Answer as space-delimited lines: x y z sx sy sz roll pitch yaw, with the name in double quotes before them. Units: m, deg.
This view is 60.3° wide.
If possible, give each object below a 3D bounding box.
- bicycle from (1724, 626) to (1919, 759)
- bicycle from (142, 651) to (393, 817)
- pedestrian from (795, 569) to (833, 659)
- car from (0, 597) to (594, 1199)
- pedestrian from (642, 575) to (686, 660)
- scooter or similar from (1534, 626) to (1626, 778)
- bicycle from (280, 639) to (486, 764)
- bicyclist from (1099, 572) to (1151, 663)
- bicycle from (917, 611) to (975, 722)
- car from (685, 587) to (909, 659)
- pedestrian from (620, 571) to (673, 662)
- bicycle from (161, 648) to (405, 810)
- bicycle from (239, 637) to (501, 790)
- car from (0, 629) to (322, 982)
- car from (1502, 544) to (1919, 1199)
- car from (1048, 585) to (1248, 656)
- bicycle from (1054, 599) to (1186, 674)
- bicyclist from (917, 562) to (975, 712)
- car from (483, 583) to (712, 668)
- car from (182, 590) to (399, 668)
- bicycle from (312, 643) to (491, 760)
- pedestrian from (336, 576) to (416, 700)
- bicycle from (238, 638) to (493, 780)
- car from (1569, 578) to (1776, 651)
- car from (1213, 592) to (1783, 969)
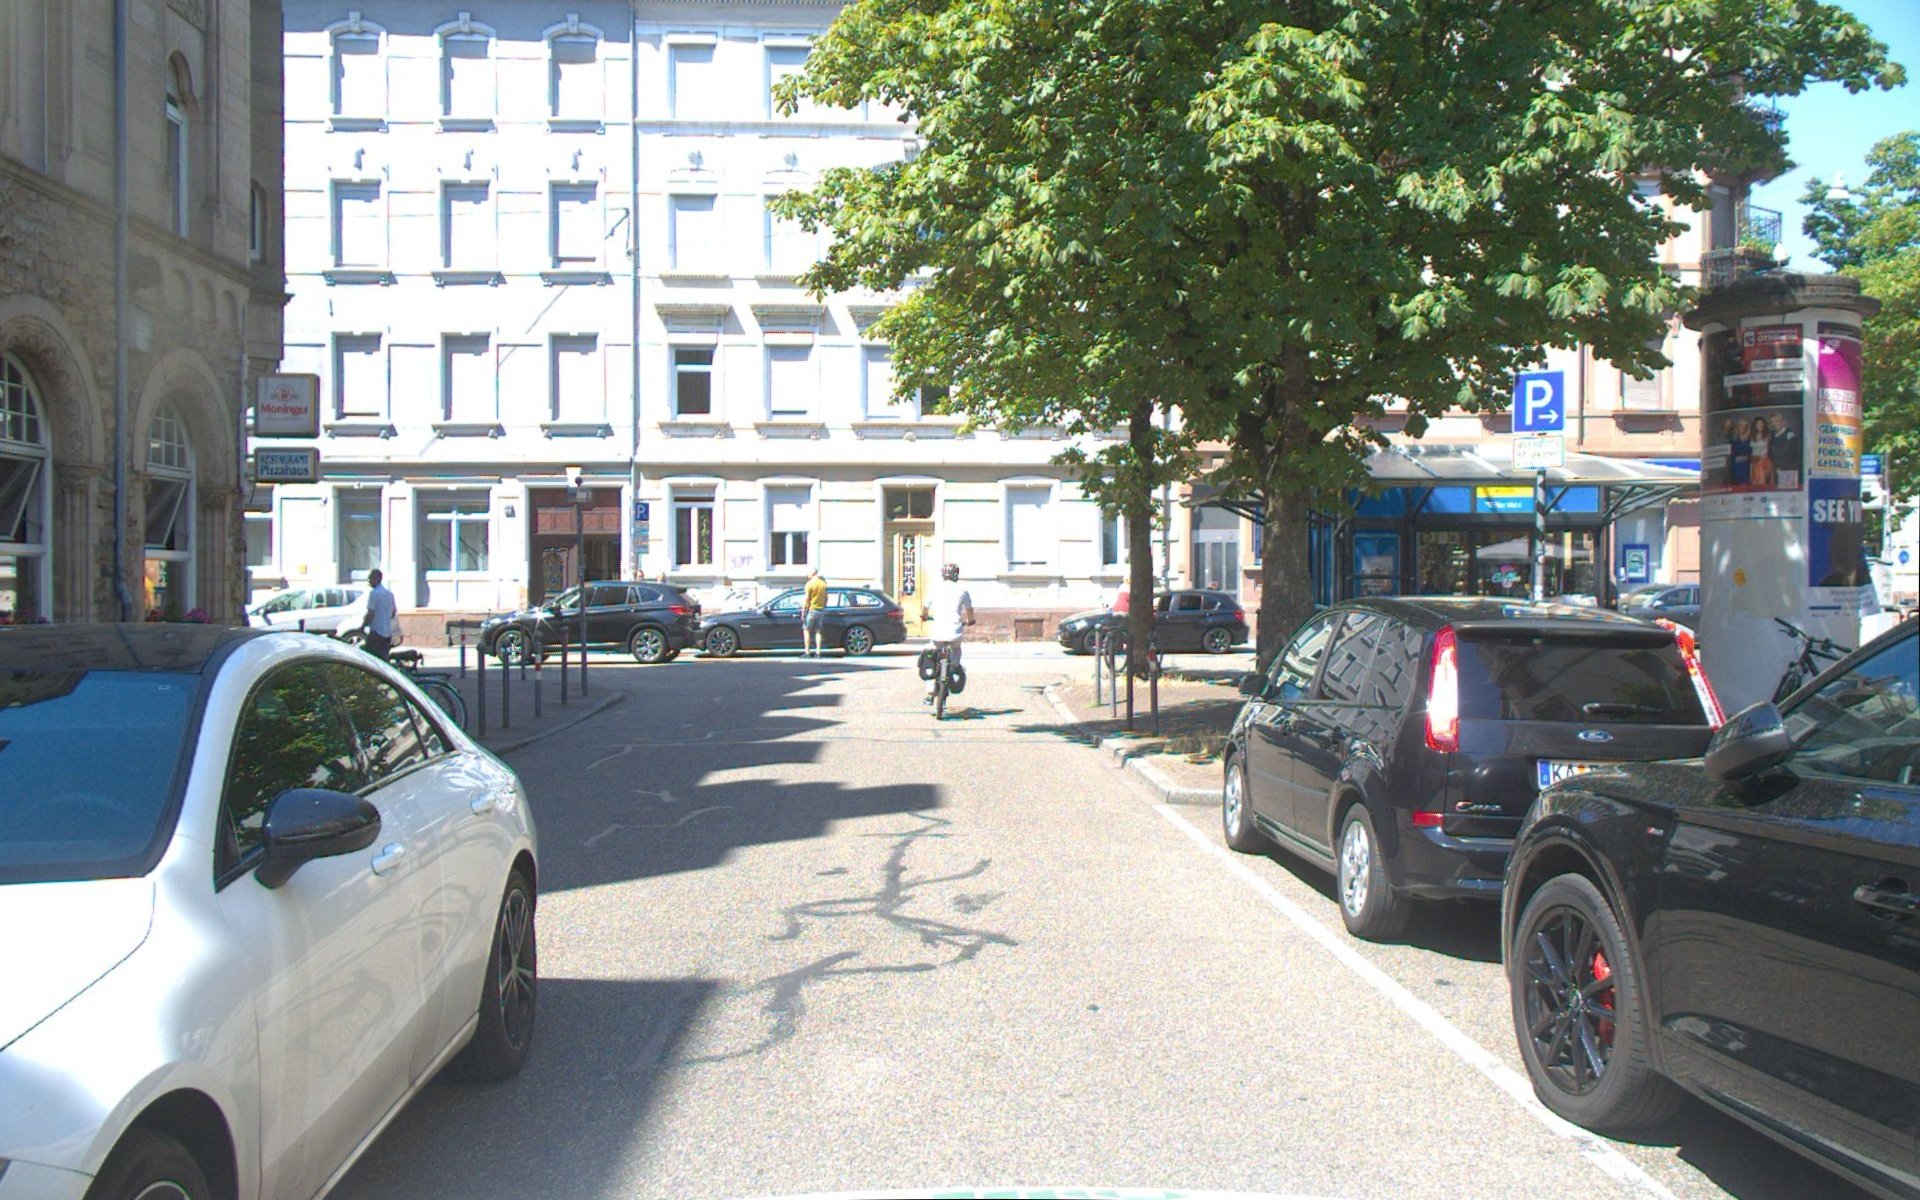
"bicycle" 7.552 0.768 14.007 1.862 1.057 0.633 -1 0 -2
"bicycle" -5.174 0.993 12.409 1.670 1.119 0.292 -3 0 -7
"pedestrian" -3.089 0.287 35.029 0.712 1.886 0.683 -1 0 -12
"car" -2.152 0.778 3.716 1.804 1.486 4.360 -3 0 -3
"pedestrian" -6.525 0.375 36.499 0.884 1.846 0.959 -1 0 -8
"scooter or similar" 5.091 0.807 13.555 0.434 1.156 1.181 -1 0 34
"bicycle" -5.190 0.915 14.940 1.672 1.063 0.413 2 0 -7
"bicyclist" 2.863 0.299 28.659 0.602 1.560 0.664 -1 0 -35
"bicycle" -0.192 0.775 20.403 0.638 1.250 2.440 1 0 -2
"car" -3.512 0.481 36.348 4.762 1.462 1.999 -1 0 -3
"pedestrian" -6.699 0.346 35.371 0.832 1.922 0.936 -1 0 8
"bicycle" -5.193 0.979 12.736 1.670 1.119 0.292 -3 0 -7
"bicycle" -4.823 0.928 13.588 1.934 1.149 0.394 3 -1 -7
"car" -4.977 0.921 8.814 1.668 1.376 4.511 -3 0 -5
"car" 2.853 0.721 3.473 1.701 1.624 4.344 2 0 -4
"car" 4.140 0.431 36.856 4.208 1.394 1.806 -1 3 -3
"bicycle" 2.786 0.631 28.609 2.412 1.230 0.646 1 0 -35
"bicyclist" -0.175 0.444 20.185 0.657 1.791 0.609 1 0 -1
"car" -7.089 0.483 32.641 4.139 1.545 1.806 -1 0 -3
"car" -14.505 0.614 35.984 3.967 1.589 1.805 -1 0 -4
"bicycle" -5.180 0.938 15.378 1.496 1.025 0.366 2 0 -7
"pedestrian" -8.195 0.521 23.237 0.840 1.701 0.774 -1 0 -2
"bicycle" -5.010 0.917 14.011 1.957 1.149 0.435 1 0 -7
"car" 16.092 0.316 37.464 3.907 1.532 1.777 -1 0 -3
"car" 2.620 0.764 9.138 1.629 1.567 4.176 2 0 -2
